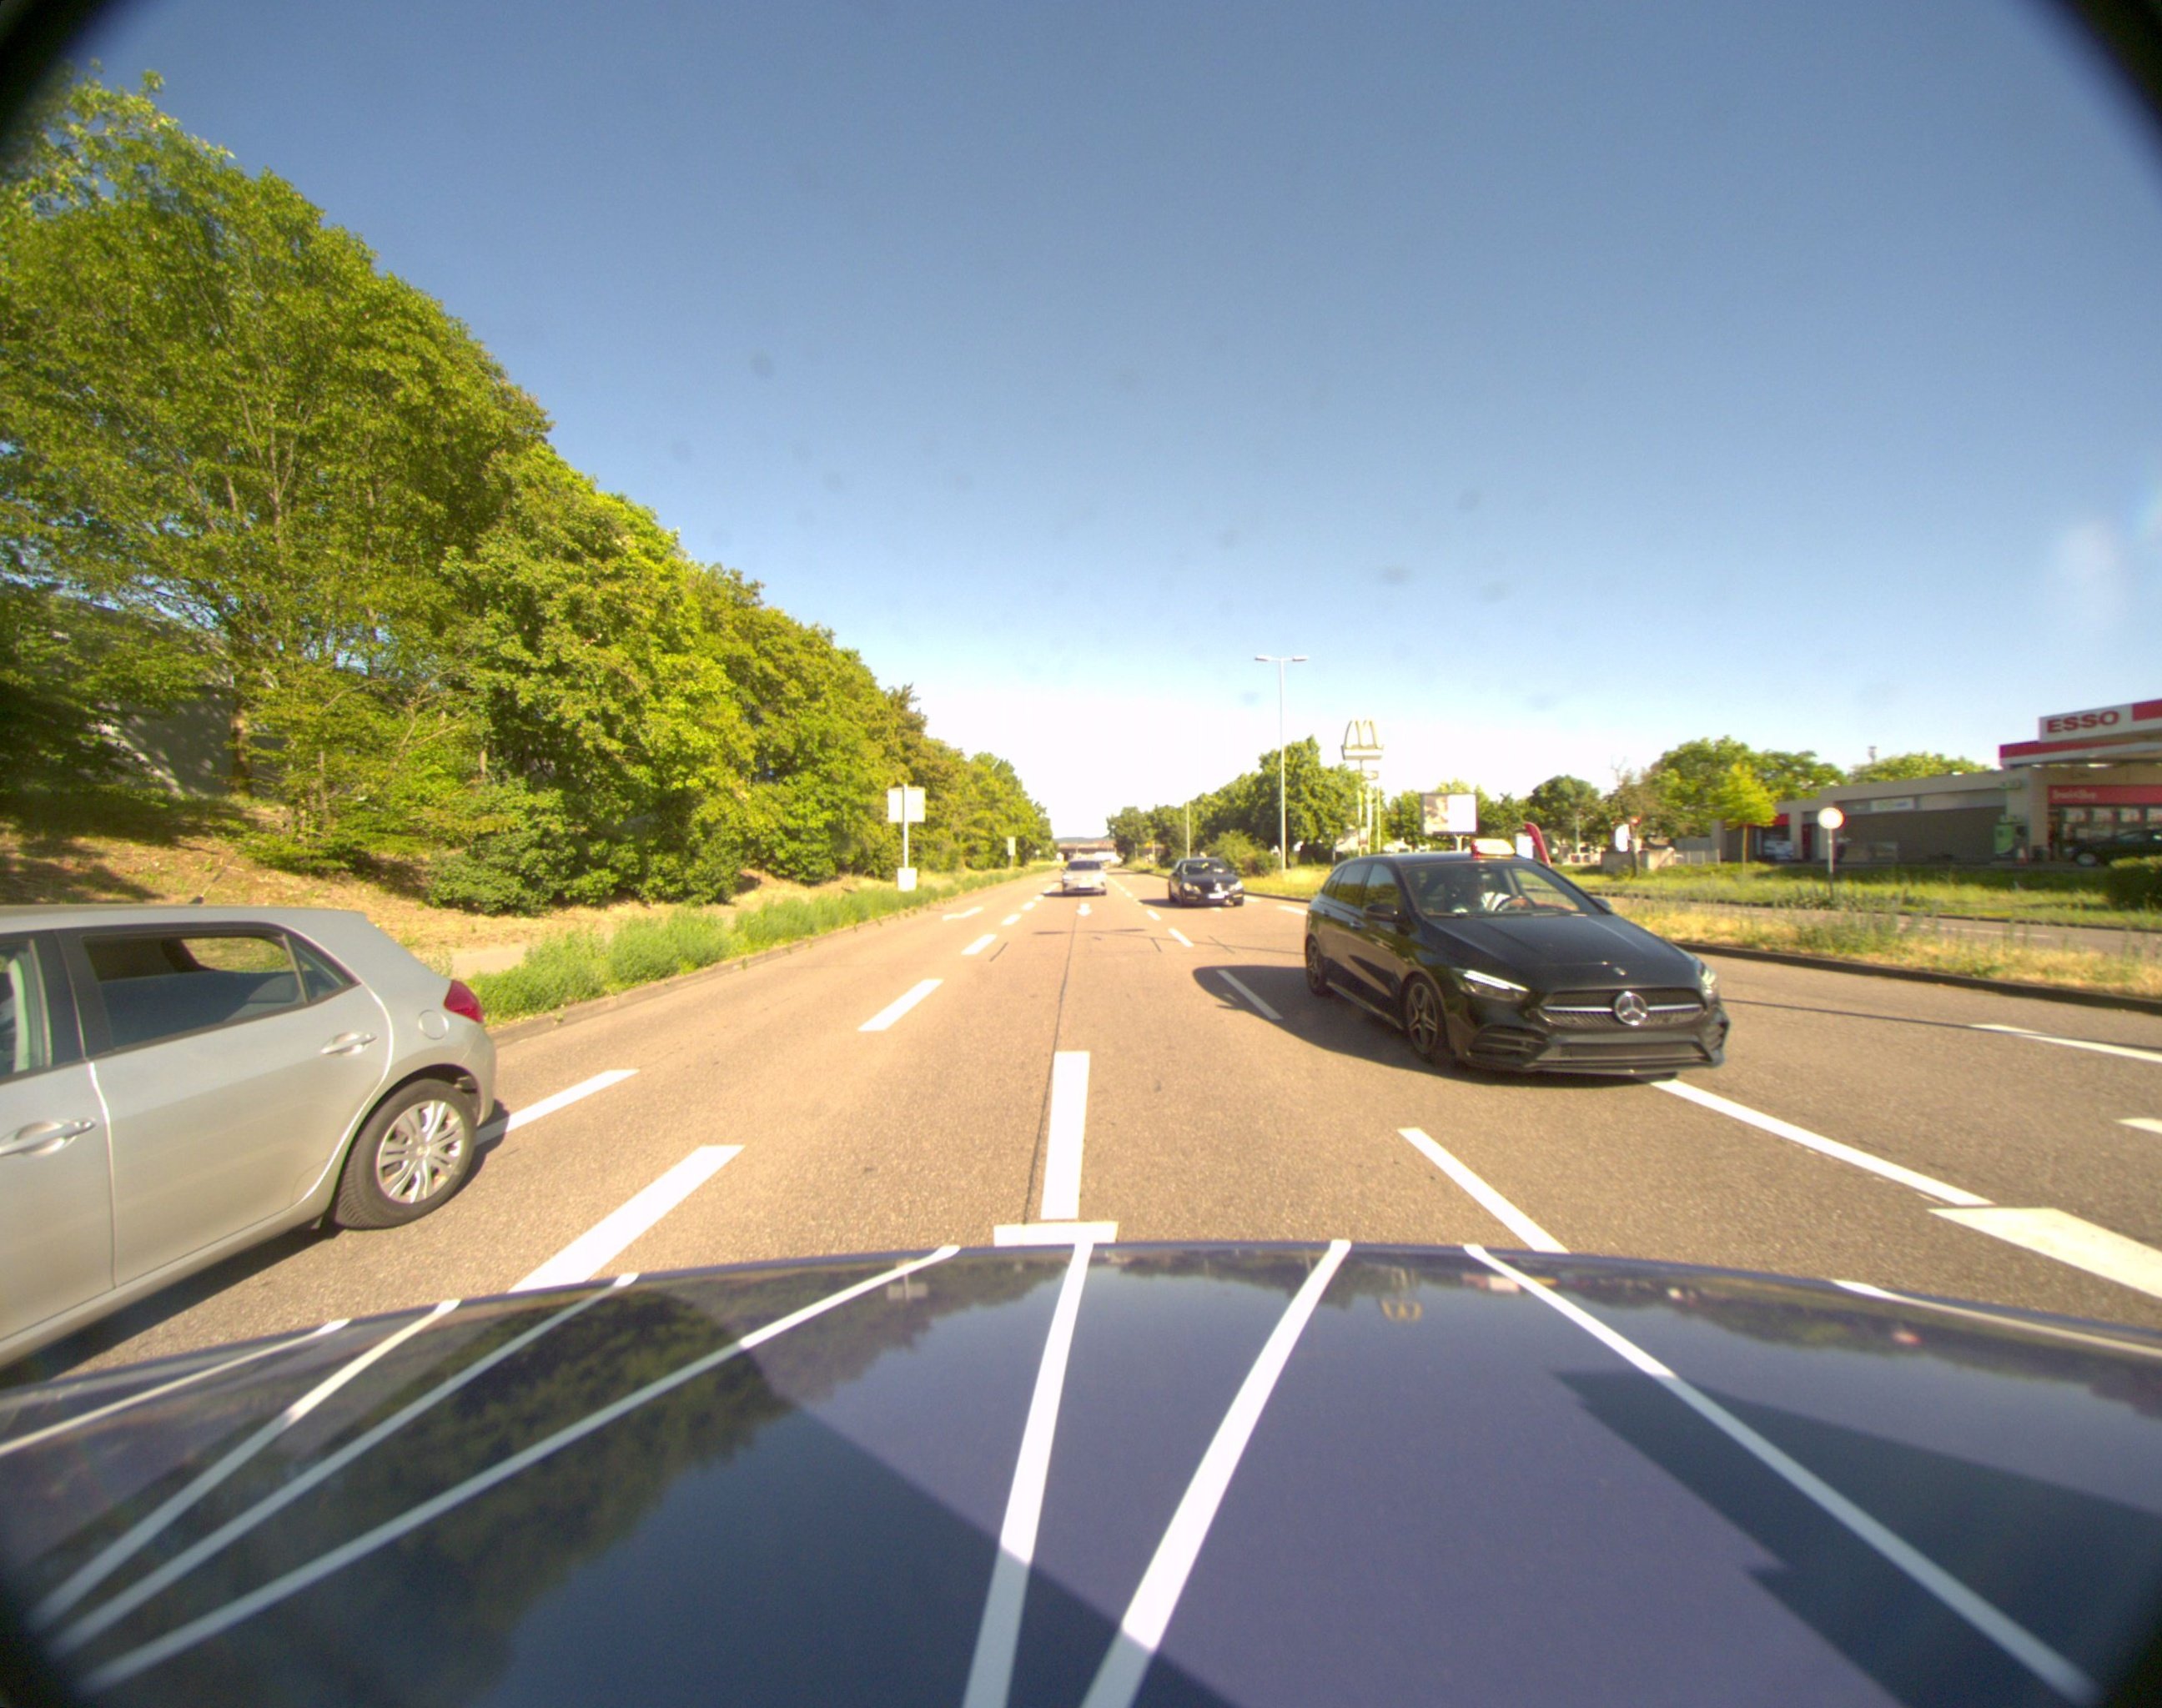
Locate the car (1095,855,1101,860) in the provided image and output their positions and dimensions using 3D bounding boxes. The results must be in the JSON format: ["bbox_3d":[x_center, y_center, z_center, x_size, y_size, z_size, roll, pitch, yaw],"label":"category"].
[{"bbox_3d":[5.325,1.170,241.296,1.998,1.433,4.000,-1,0,1],"label":"car"}]

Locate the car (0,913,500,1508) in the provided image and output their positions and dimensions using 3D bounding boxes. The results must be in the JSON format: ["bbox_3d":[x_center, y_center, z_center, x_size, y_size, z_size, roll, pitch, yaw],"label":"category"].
[{"bbox_3d":[-3.947,1.100,1.870,1.788,1.528,4.108,-2,0,1],"label":"car"}]

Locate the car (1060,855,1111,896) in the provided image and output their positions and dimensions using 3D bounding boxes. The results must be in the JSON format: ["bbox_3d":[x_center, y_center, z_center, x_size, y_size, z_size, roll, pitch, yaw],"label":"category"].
[{"bbox_3d":[0.205,0.906,33.259,2.025,1.601,4.098,-2,0,1],"label":"car"}]

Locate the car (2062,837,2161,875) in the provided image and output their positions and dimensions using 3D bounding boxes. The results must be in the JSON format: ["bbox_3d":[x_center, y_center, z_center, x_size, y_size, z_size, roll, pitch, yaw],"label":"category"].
[{"bbox_3d":[40.437,0.052,28.563,1.998,1.397,4.000,-1,0,0],"label":"car"}]

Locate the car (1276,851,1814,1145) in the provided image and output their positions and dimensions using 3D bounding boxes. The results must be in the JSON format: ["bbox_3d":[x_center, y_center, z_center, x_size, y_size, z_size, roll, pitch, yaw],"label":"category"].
[{"bbox_3d":[3.189,0.807,6.540,1.788,1.592,4.583,-2,0,0],"label":"car"}]

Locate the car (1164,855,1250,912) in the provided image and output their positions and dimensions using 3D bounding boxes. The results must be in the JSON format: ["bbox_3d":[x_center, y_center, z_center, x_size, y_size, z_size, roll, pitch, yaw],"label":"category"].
[{"bbox_3d":[3.848,0.842,23.918,1.953,1.501,4.462,-2,1,1],"label":"car"}]
